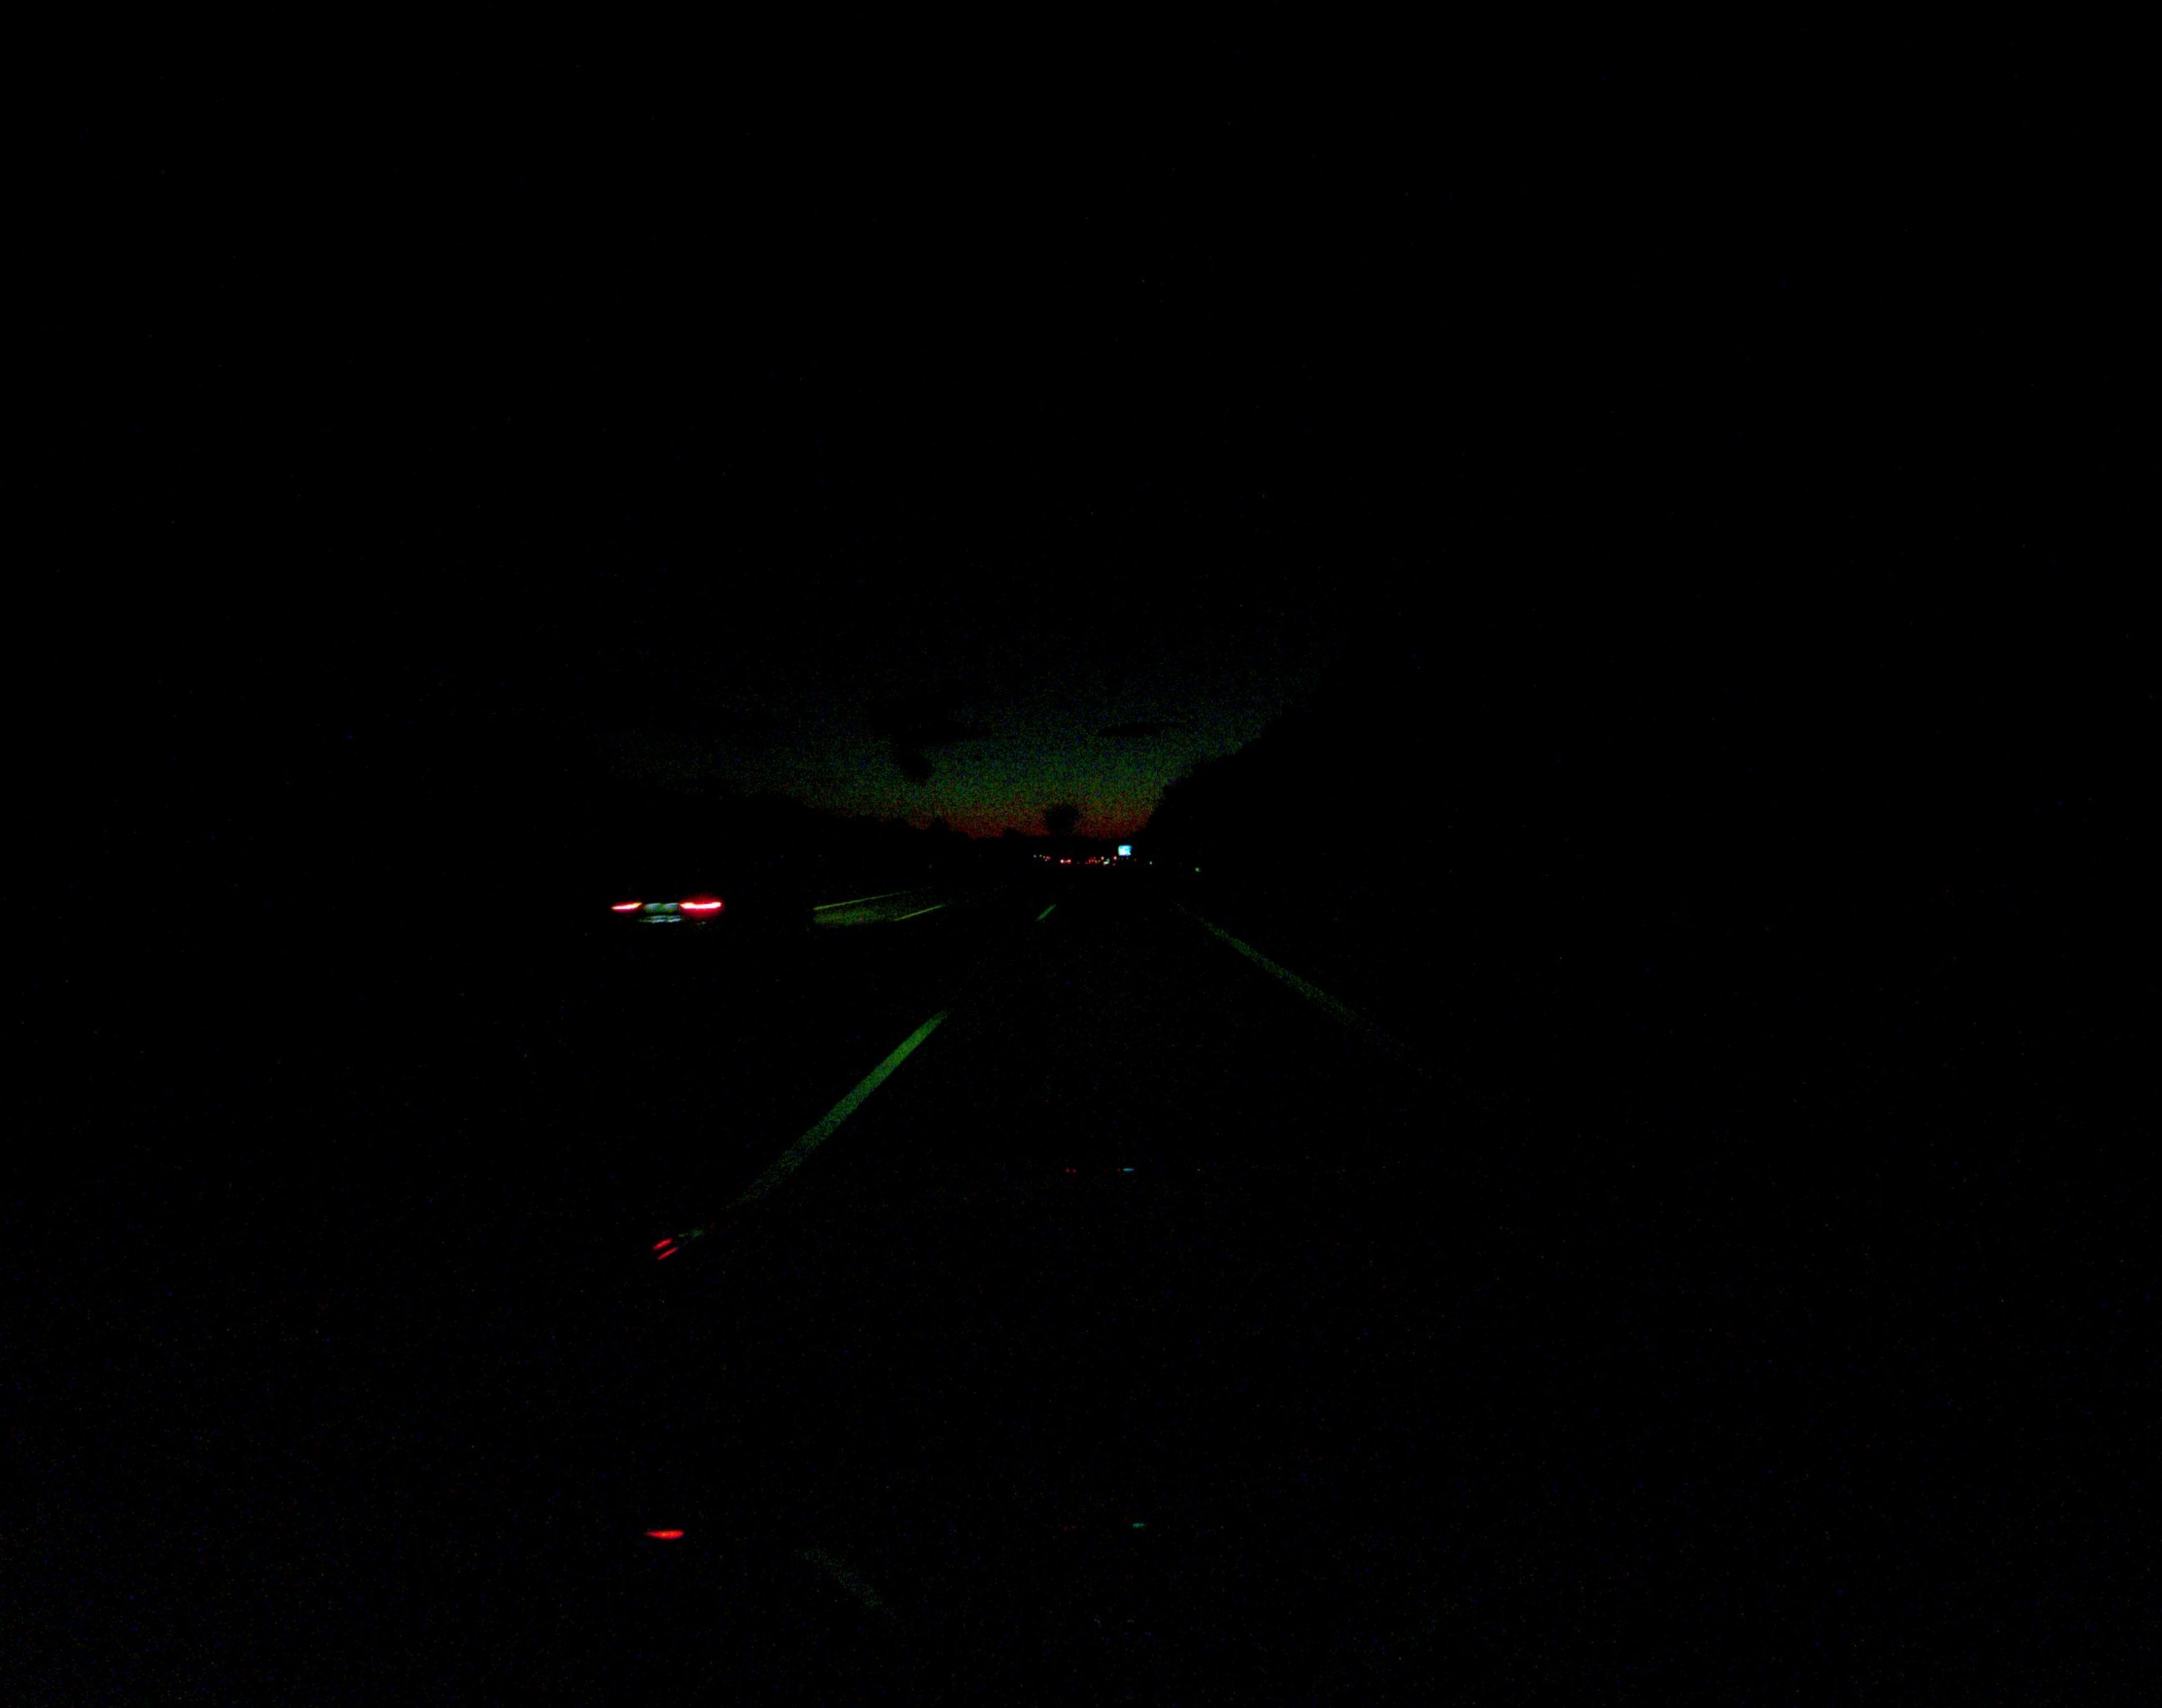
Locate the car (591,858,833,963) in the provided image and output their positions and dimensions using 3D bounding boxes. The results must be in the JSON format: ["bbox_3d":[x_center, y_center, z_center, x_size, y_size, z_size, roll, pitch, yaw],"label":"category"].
[{"bbox_3d":[-6.222,0.841,14.592,1.773,1.487,5.255,-1,0,2],"label":"car"}]

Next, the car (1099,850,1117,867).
[{"bbox_3d":[3.614,0.590,107.585,2.187,1.955,4.767,-4,0,3],"label":"car"}]

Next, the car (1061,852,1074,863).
[{"bbox_3d":[-2.535,0.652,151.097,2.188,1.955,4.635,-1,0,2],"label":"car"}]
